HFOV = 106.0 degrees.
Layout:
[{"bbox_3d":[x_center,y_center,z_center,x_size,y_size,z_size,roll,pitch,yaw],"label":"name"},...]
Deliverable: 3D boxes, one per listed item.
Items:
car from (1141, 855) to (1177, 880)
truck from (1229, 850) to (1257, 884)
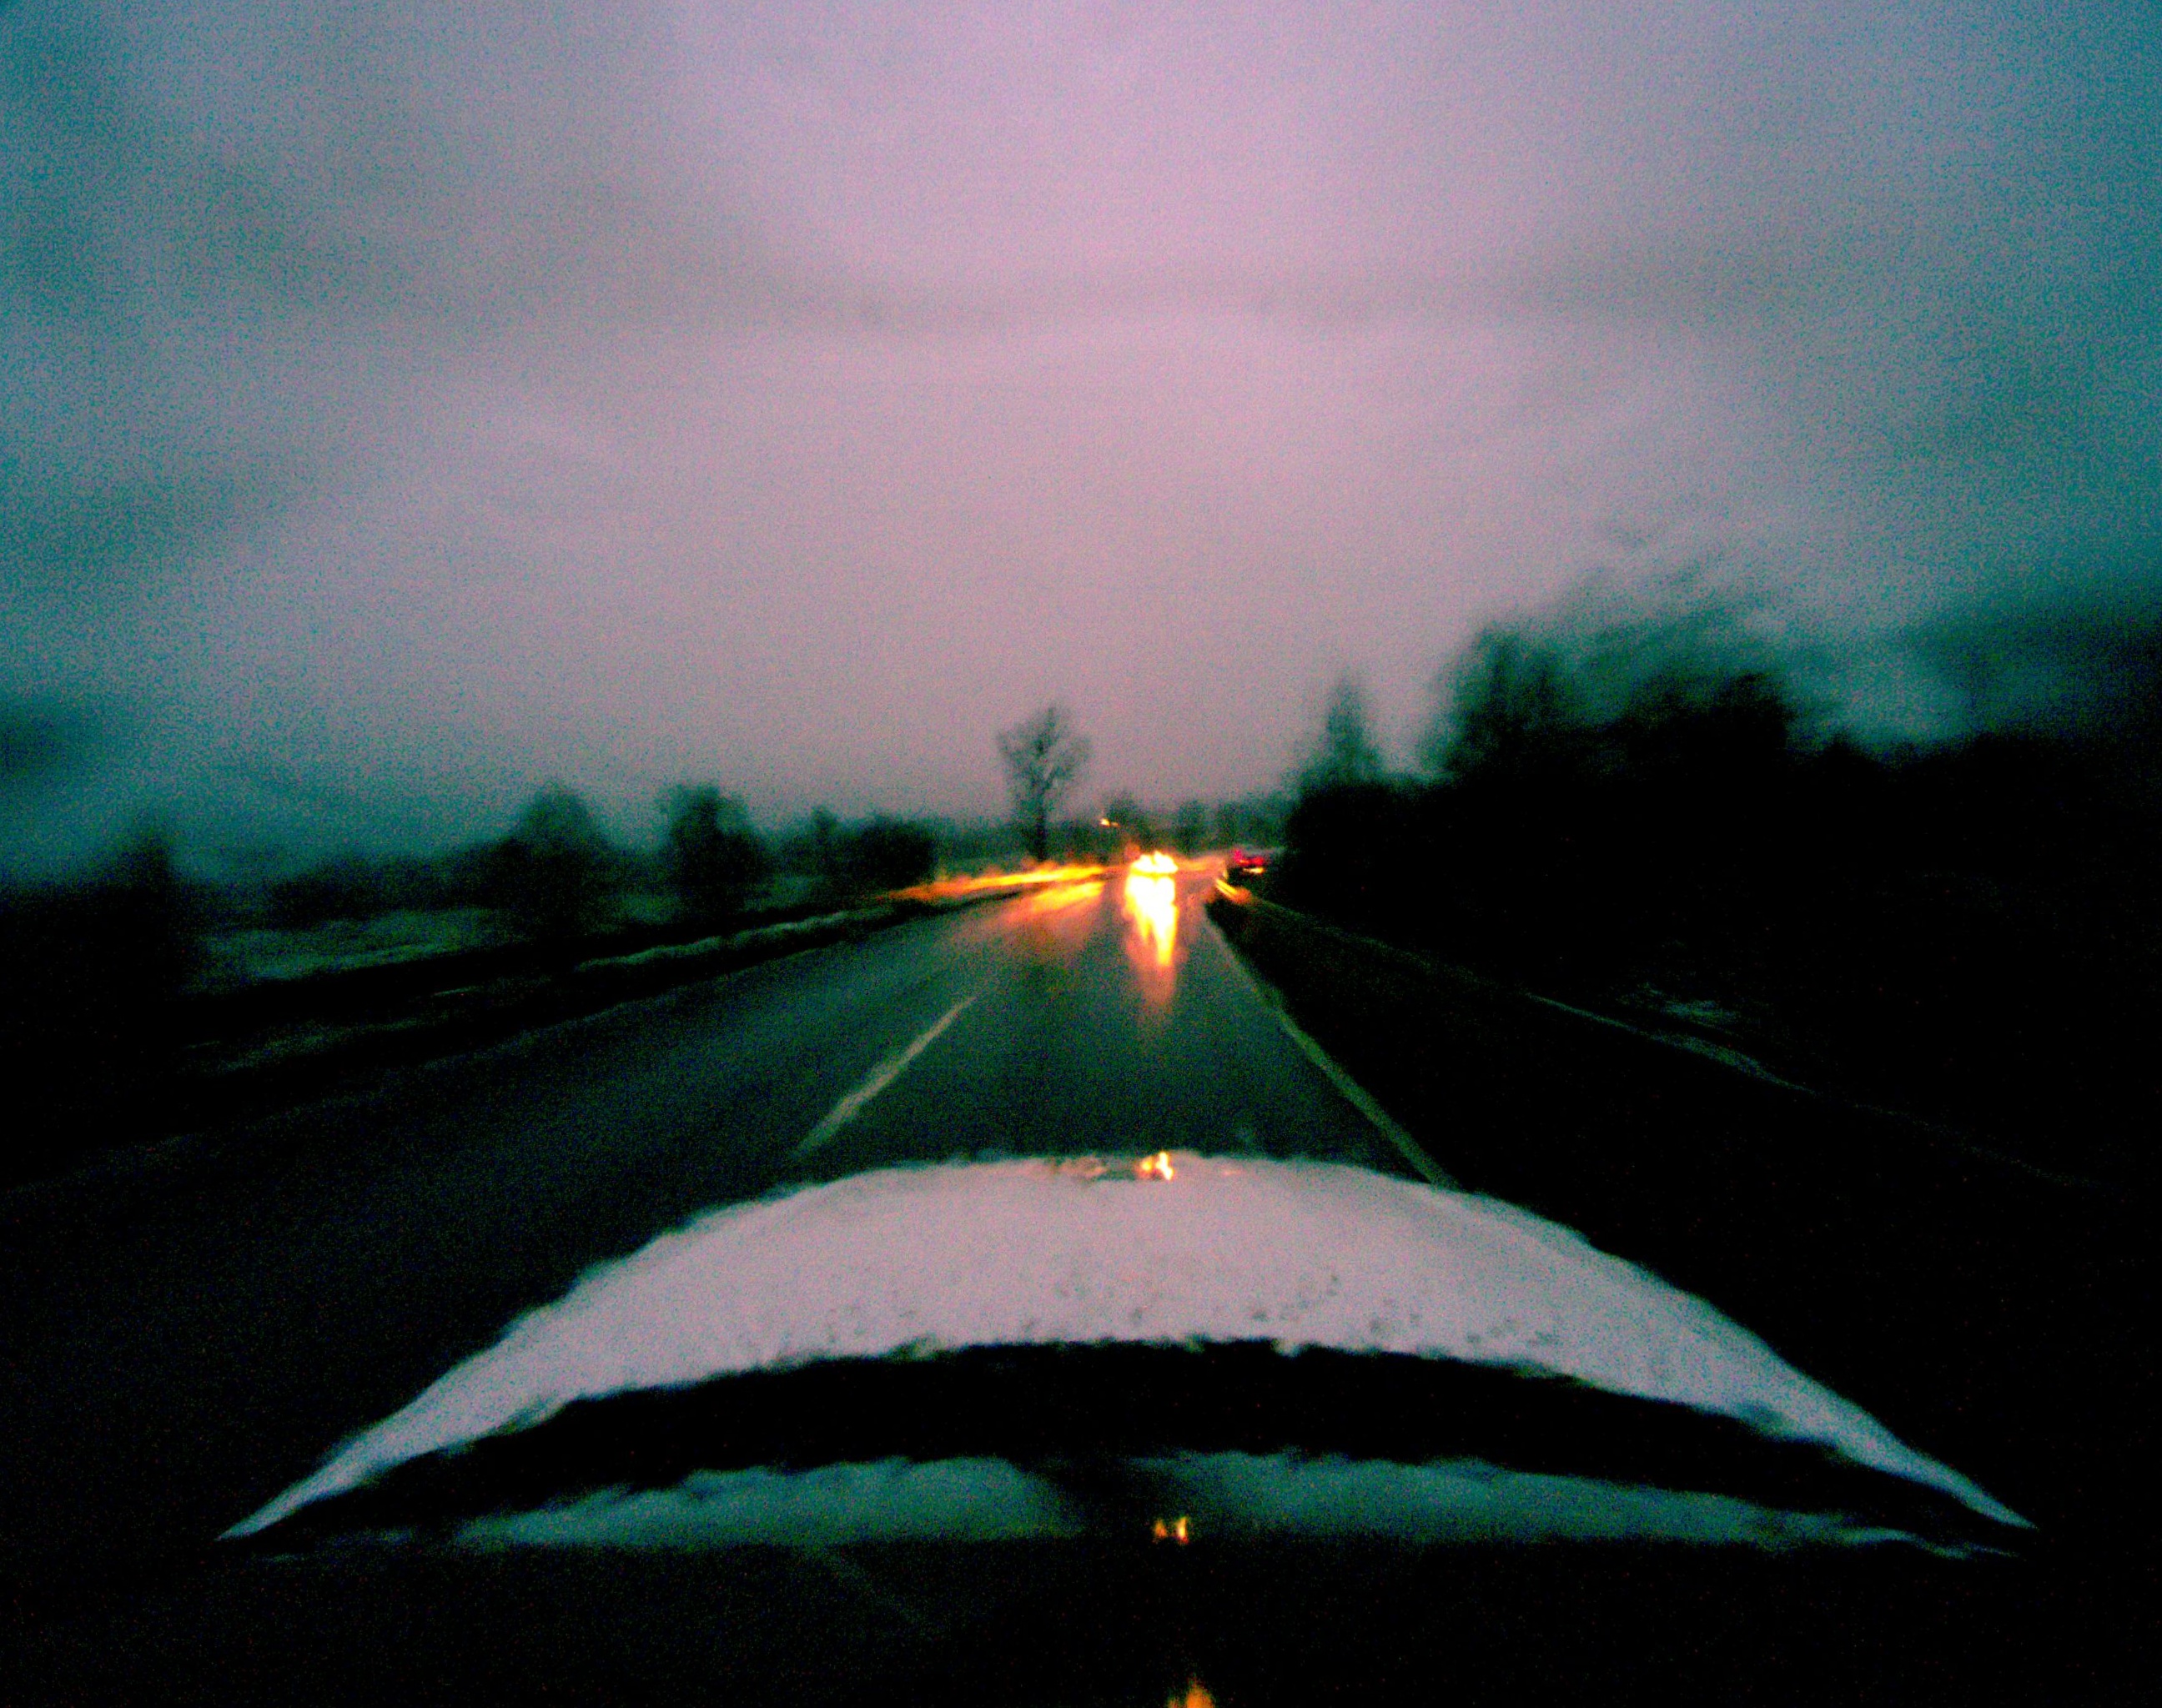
[{"bbox_3d":[5.557,0.926,57.519,1.998,1.634,4.888,-1,0,11],"label":"car"},{"bbox_3d":[16.271,1.212,81.695,2.515,2.868,5.943,-3,3,11],"label":"truck"}]
